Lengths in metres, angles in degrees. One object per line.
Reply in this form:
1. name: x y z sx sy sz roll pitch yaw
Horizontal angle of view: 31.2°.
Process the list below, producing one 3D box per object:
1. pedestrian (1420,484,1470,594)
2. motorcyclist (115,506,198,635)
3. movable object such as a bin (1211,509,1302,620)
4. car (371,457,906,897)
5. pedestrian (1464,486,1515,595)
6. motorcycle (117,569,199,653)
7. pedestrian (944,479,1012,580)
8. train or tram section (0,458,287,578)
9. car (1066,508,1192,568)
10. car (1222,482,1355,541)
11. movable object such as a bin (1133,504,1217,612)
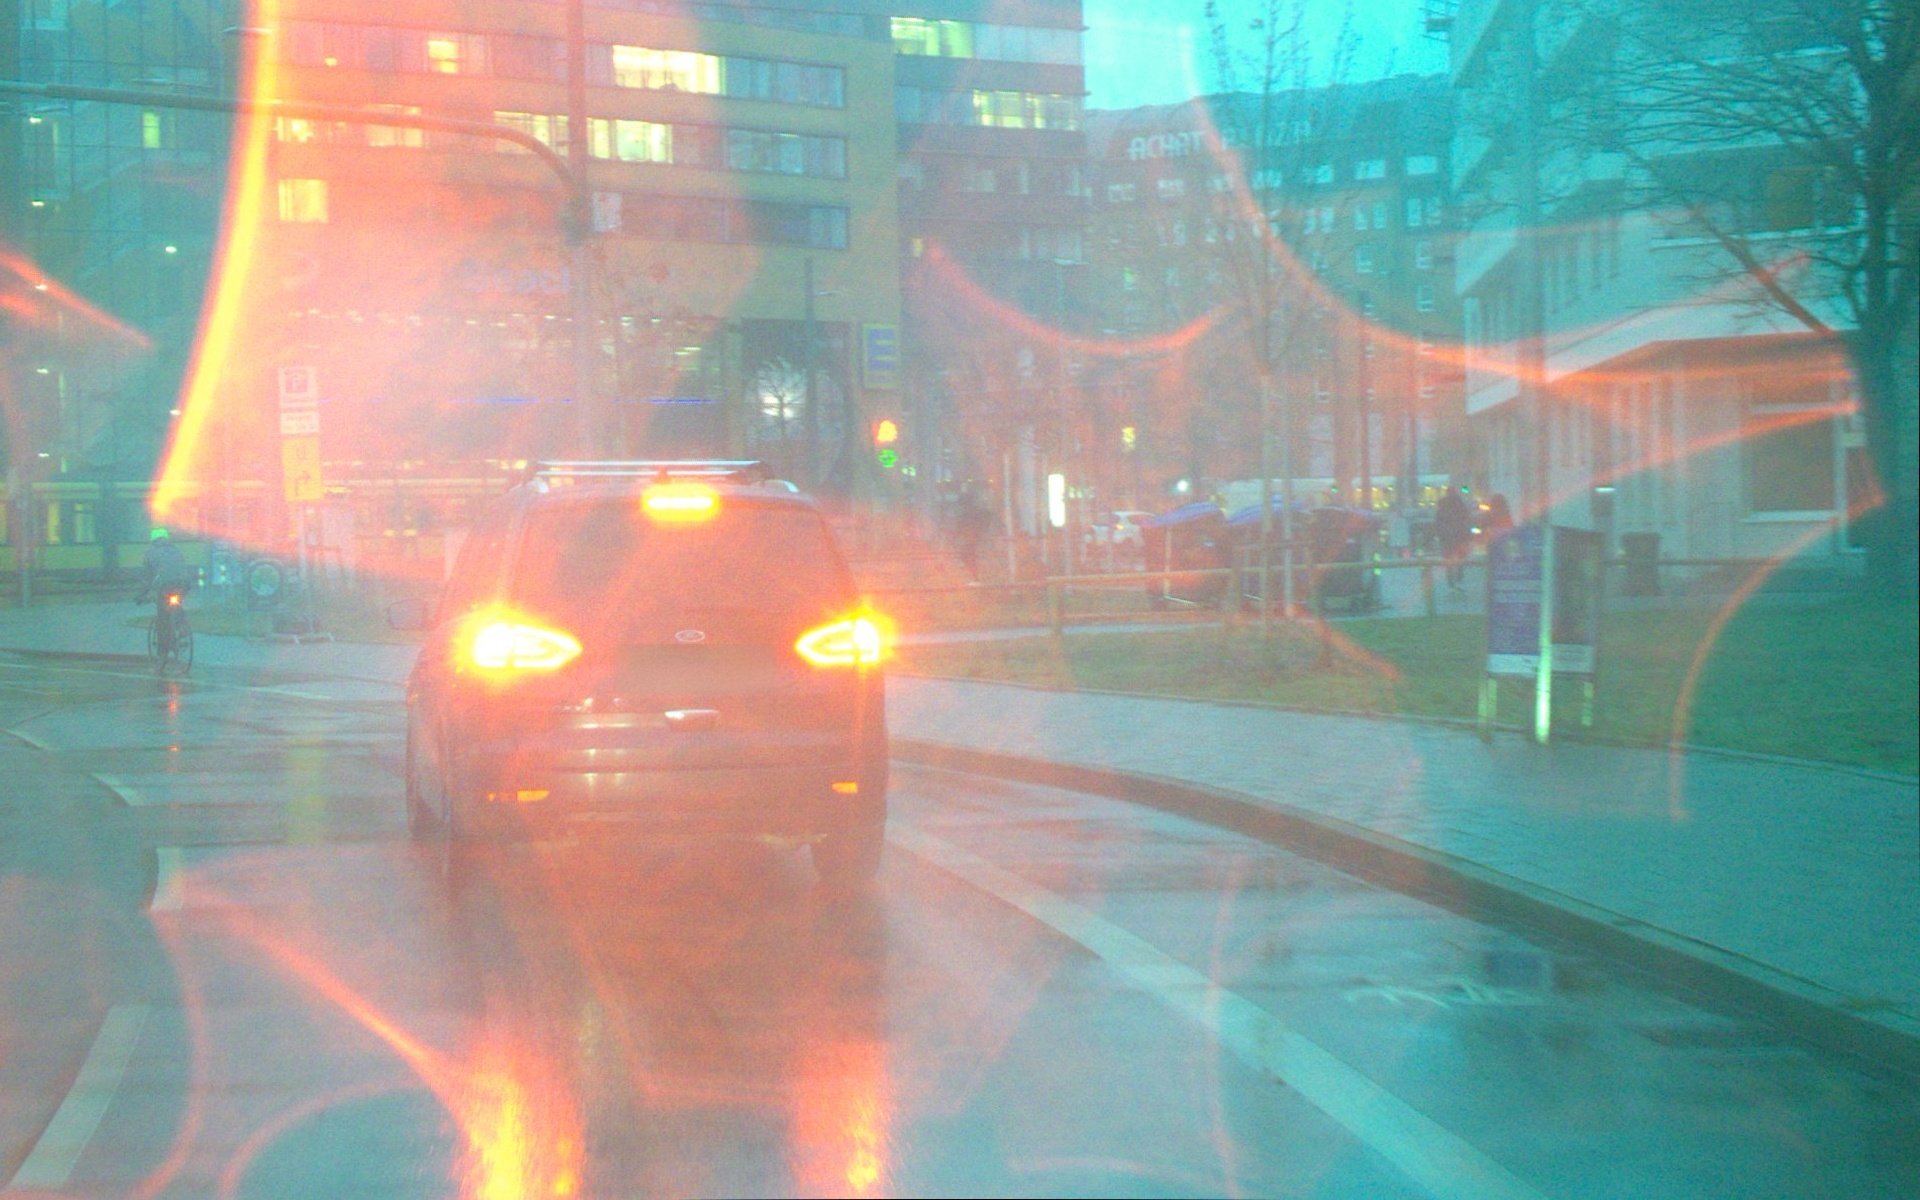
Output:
1. pedestrian: 7.662 -0.961 54.303 0.675 1.708 0.606 1 0 -1
2. motorcyclist: -9.758 -0.370 41.801 0.868 1.529 1.108 -2 1 -9
3. movable object such as a bin: 4.039 -0.484 46.759 1.035 1.485 1.040 1 0 16
4. car: -1.622 0.295 15.816 1.734 1.732 4.248 1 0 -15
5. pedestrian: 8.363 -0.943 54.342 0.675 1.708 0.629 1 0 -1
6. motorcycle: -9.744 0.125 41.810 0.852 0.968 1.582 -2 1 -10
7. pedestrian: 0.335 -1.346 65.864 1.170 1.917 0.899 1 0 -7
8. train or tram section: -26.390 -2.253 95.383 2.335 3.249 16.617 0 2 45
9. car: 5.765 -2.101 116.925 3.988 2.007 1.999 0 1 -40
10. car: 11.798 -3.155 123.373 4.935 2.007 1.999 0 1 -44
11. movable object such as a bin: 2.948 -0.585 47.010 1.014 1.411 1.224 -2 2 7
